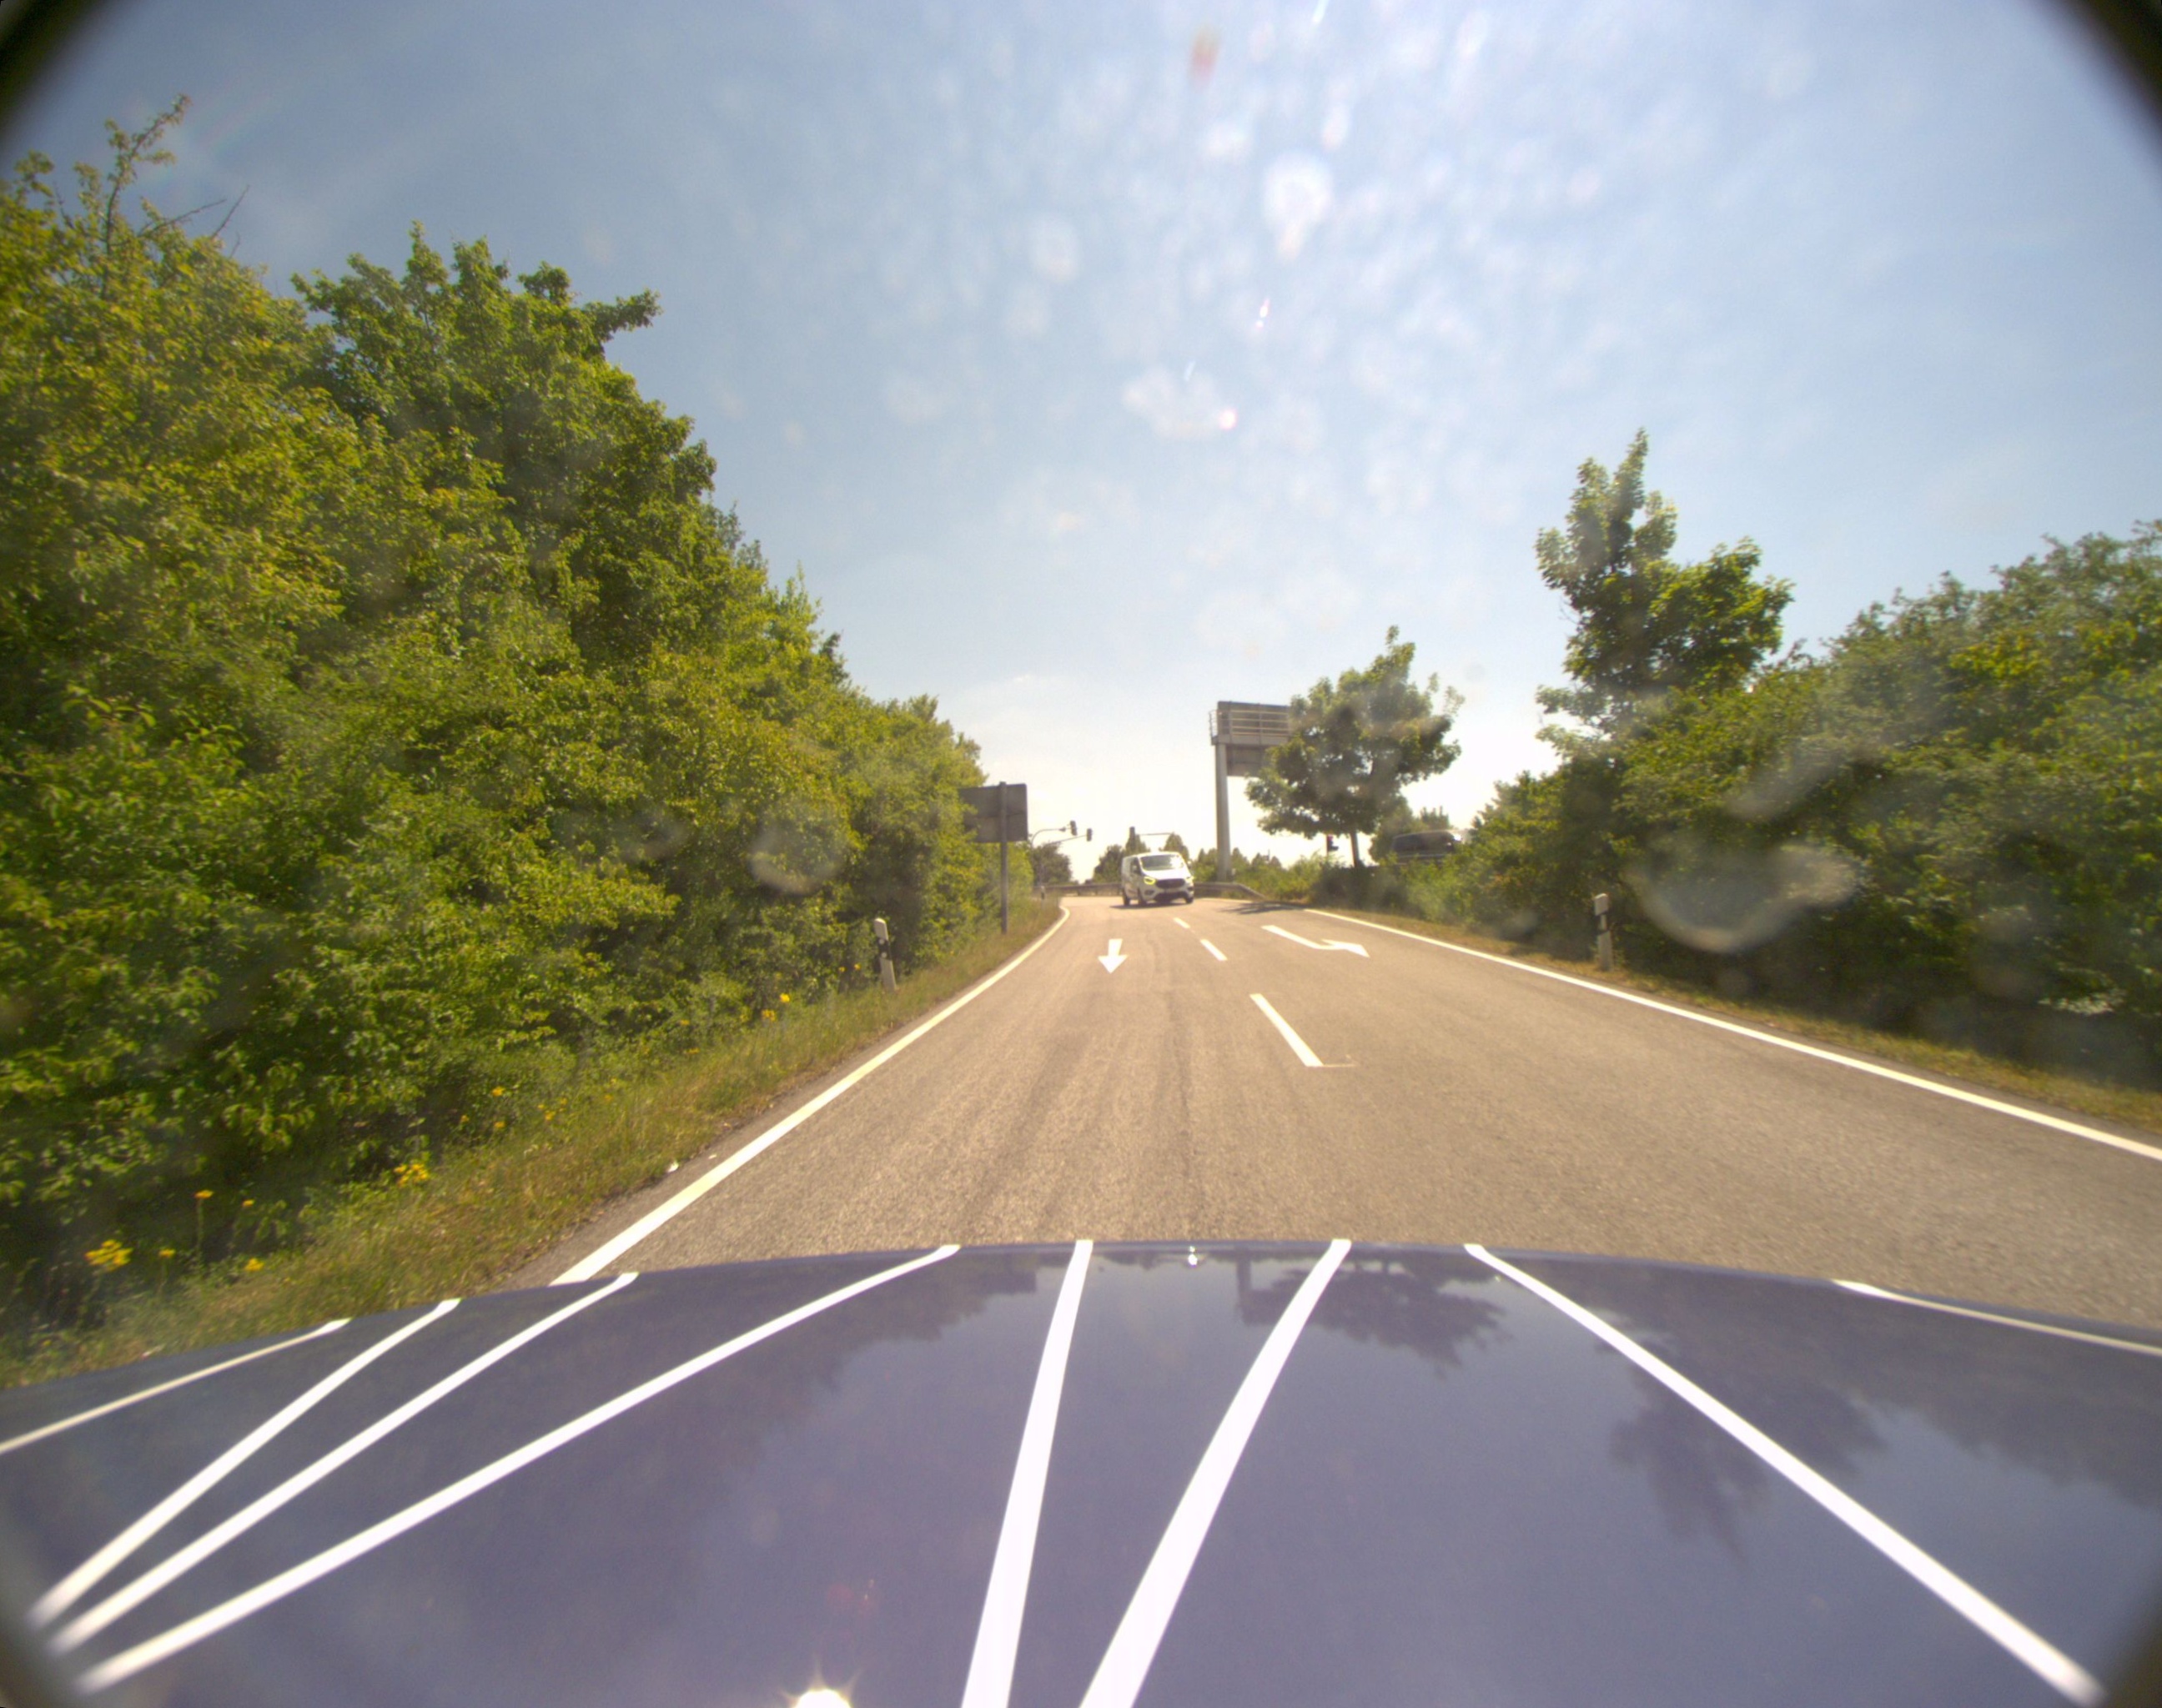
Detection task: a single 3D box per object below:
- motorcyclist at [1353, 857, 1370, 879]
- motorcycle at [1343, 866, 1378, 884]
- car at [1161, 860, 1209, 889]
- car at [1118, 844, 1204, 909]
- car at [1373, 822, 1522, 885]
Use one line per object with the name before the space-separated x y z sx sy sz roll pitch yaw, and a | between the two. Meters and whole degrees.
motorcyclist | 17.548 0.890 47.563 0.678 1.294 0.722 2 -3 -26
motorcycle | 17.486 1.341 47.647 0.565 1.073 2.280 1 -3 -26
car | 6.391 1.265 46.980 1.790 1.542 3.859 -5 -1 -9
car | 2.887 0.929 28.974 2.031 2.071 5.873 -4 -3 -5
car | 12.258 0.070 25.793 1.946 1.907 4.528 1 -3 -17
